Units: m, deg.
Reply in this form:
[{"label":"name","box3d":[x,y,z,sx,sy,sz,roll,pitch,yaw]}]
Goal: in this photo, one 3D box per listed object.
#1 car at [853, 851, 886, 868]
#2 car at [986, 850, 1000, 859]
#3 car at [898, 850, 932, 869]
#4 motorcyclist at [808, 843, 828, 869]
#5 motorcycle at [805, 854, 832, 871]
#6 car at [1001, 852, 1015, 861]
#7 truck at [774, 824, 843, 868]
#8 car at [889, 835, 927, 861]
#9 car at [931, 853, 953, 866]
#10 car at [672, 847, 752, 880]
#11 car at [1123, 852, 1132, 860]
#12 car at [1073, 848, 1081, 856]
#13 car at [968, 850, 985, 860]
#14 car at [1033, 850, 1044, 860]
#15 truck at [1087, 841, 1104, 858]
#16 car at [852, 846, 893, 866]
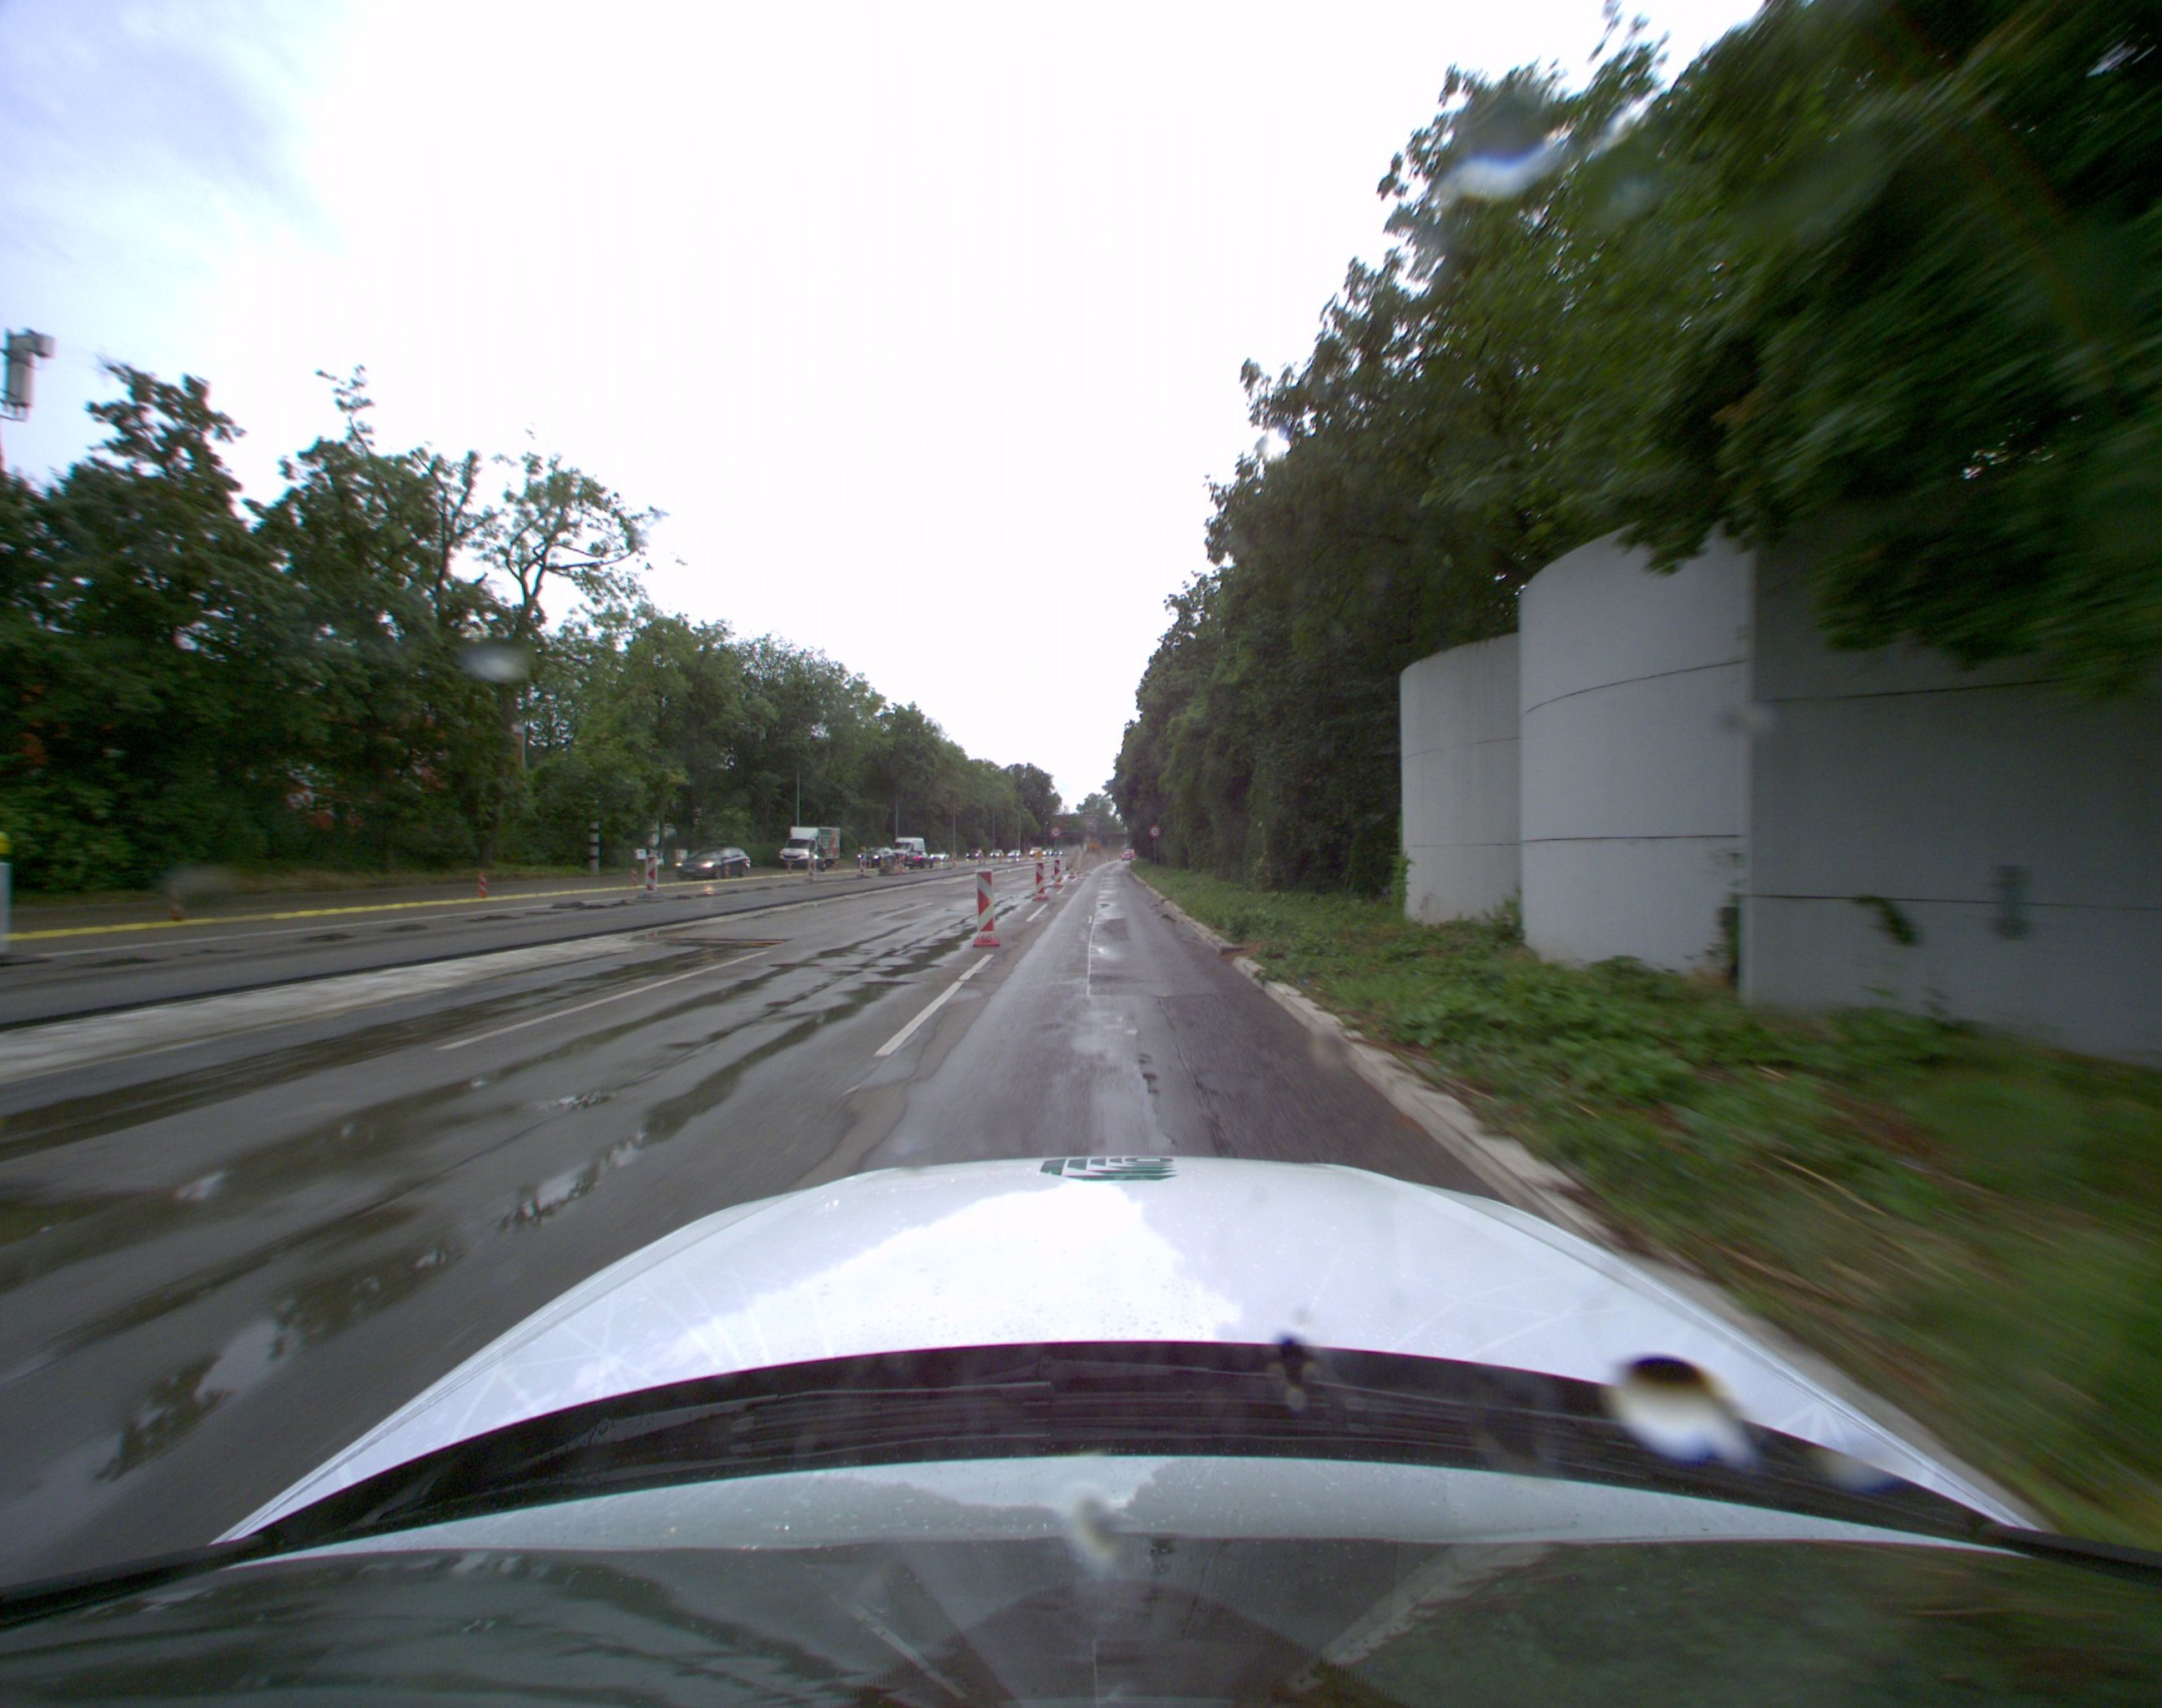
[{"label":"car","box3d":[-18.672,0.458,72.089,1.663,1.485,4.323,0,0,3]},{"label":"car","box3d":[-14.717,0.100,136.698,1.663,1.485,4.052,0,0,3]},{"label":"car","box3d":[-12.949,0.423,63.739,1.601,1.404,4.044,0,0,3]},{"label":"motorcyclist","box3d":[-16.246,0.120,50.322,0.825,1.564,0.927,1,0,1]},{"label":"motorcycle","box3d":[-16.250,0.498,50.468,0.825,1.014,2.368,1,0,2]},{"label":"car","box3d":[-12.102,0.360,134.942,1.663,1.485,4.323,0,0,3]},{"label":"truck","box3d":[-19.241,-0.541,58.001,2.236,2.940,6.940,0,0,3]},{"label":"car","box3d":[-17.642,-0.615,83.335,2.091,2.579,6.859,0,0,3]},{"label":"car","box3d":[-16.804,0.672,98.403,1.663,1.485,4.323,0,0,3]},{"label":"car","box3d":[-16.897,0.405,37.527,1.664,1.415,4.321,0,0,1]},{"label":"car","box3d":[8.593,0.379,150.907,1.690,1.336,3.494,-2,0,3]},{"label":"car","box3d":[-0.922,-0.527,189.256,1.663,1.808,4.324,0,1,3]},{"label":"car","box3d":[-15.464,0.130,120.847,1.663,1.485,4.323,0,0,3]},{"label":"car","box3d":[-8.301,0.172,158.274,1.663,1.809,4.323,0,0,3]},{"label":"truck","box3d":[3.079,-0.912,166.872,3.247,3.497,13.877,0,0,2]},{"label":"car","box3d":[-16.513,0.128,64.723,1.952,1.531,4.440,0,0,3]}]
